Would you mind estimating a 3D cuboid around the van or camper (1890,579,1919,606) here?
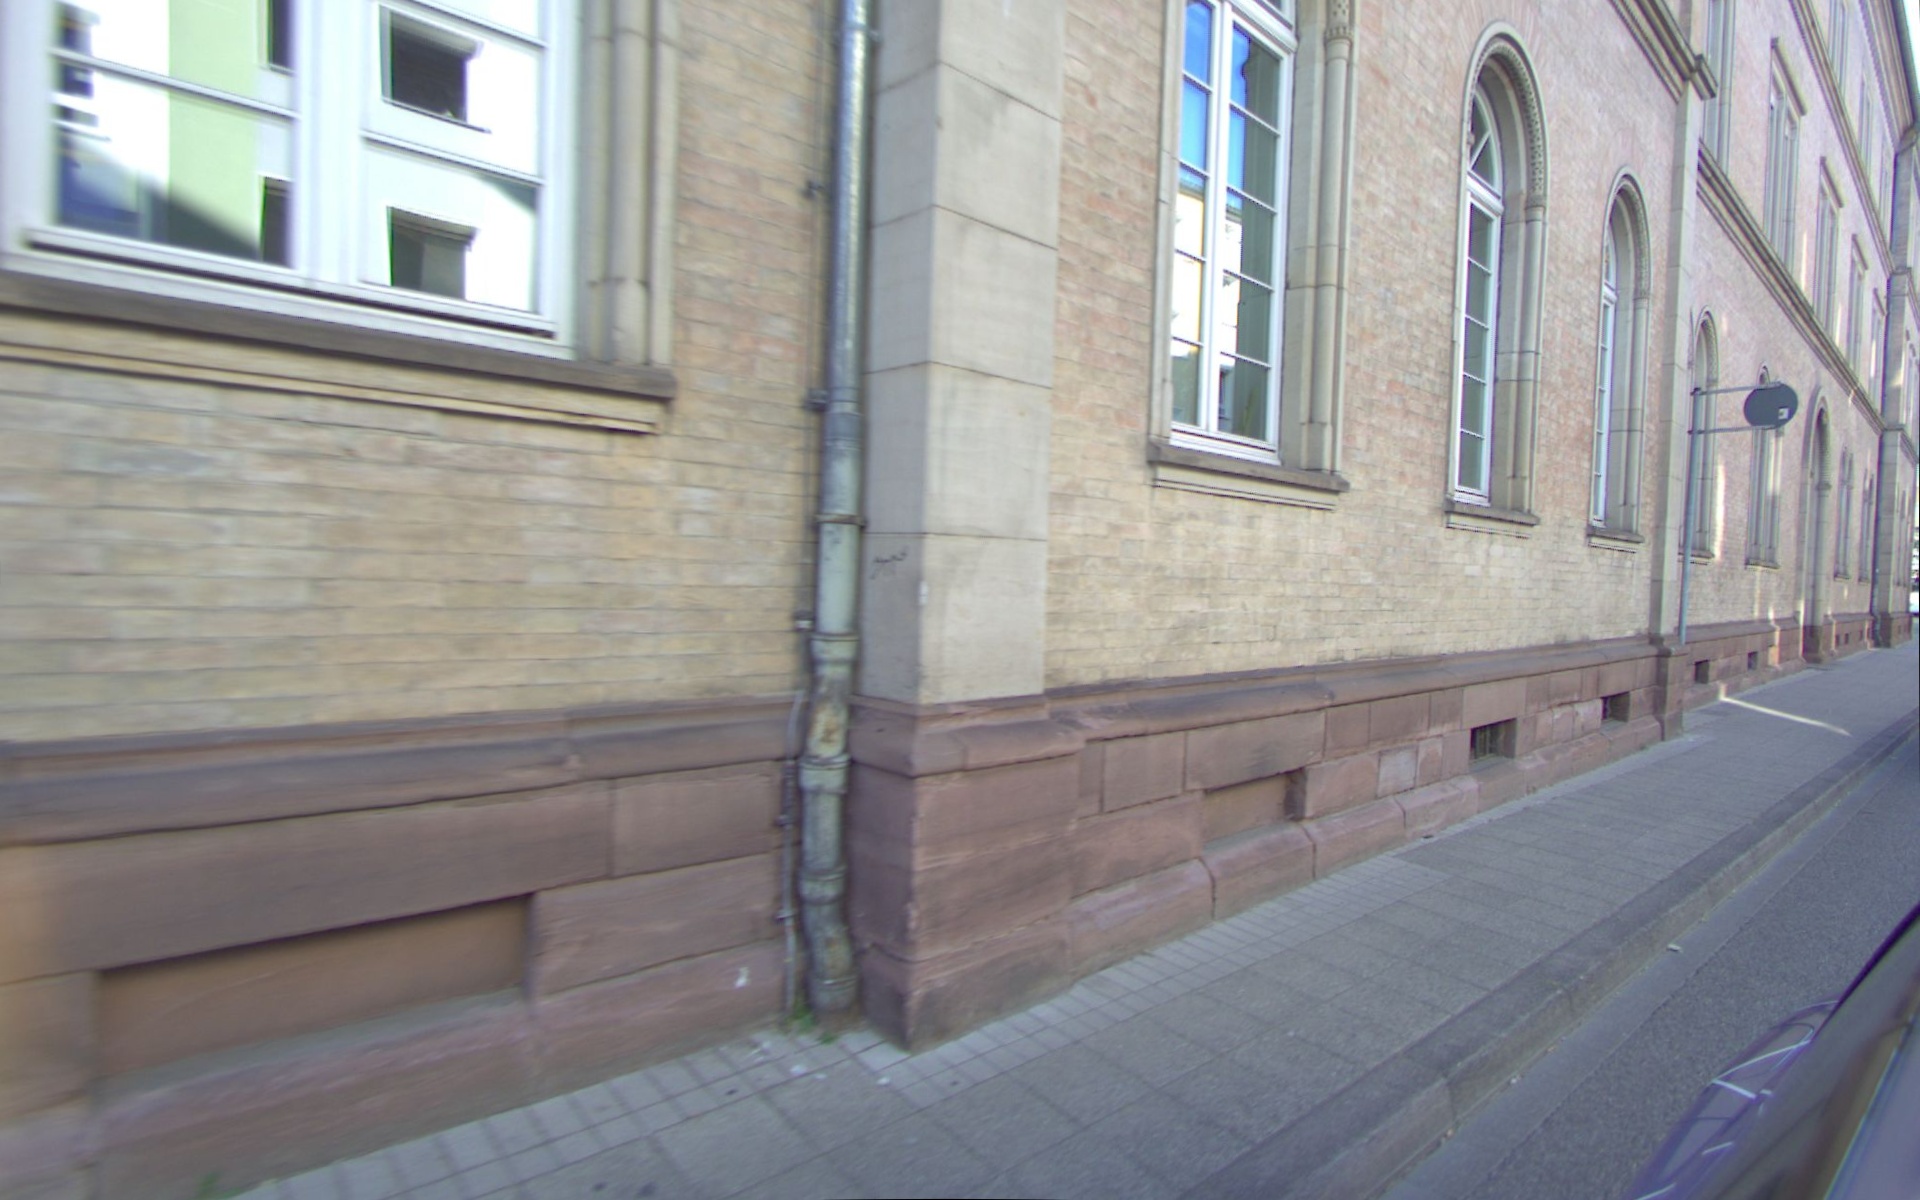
[{"bbox_3d":[74.309,-0.584,78.730,2.149,2.038,4.914,3,2,35],"label":"van or camper"}]
